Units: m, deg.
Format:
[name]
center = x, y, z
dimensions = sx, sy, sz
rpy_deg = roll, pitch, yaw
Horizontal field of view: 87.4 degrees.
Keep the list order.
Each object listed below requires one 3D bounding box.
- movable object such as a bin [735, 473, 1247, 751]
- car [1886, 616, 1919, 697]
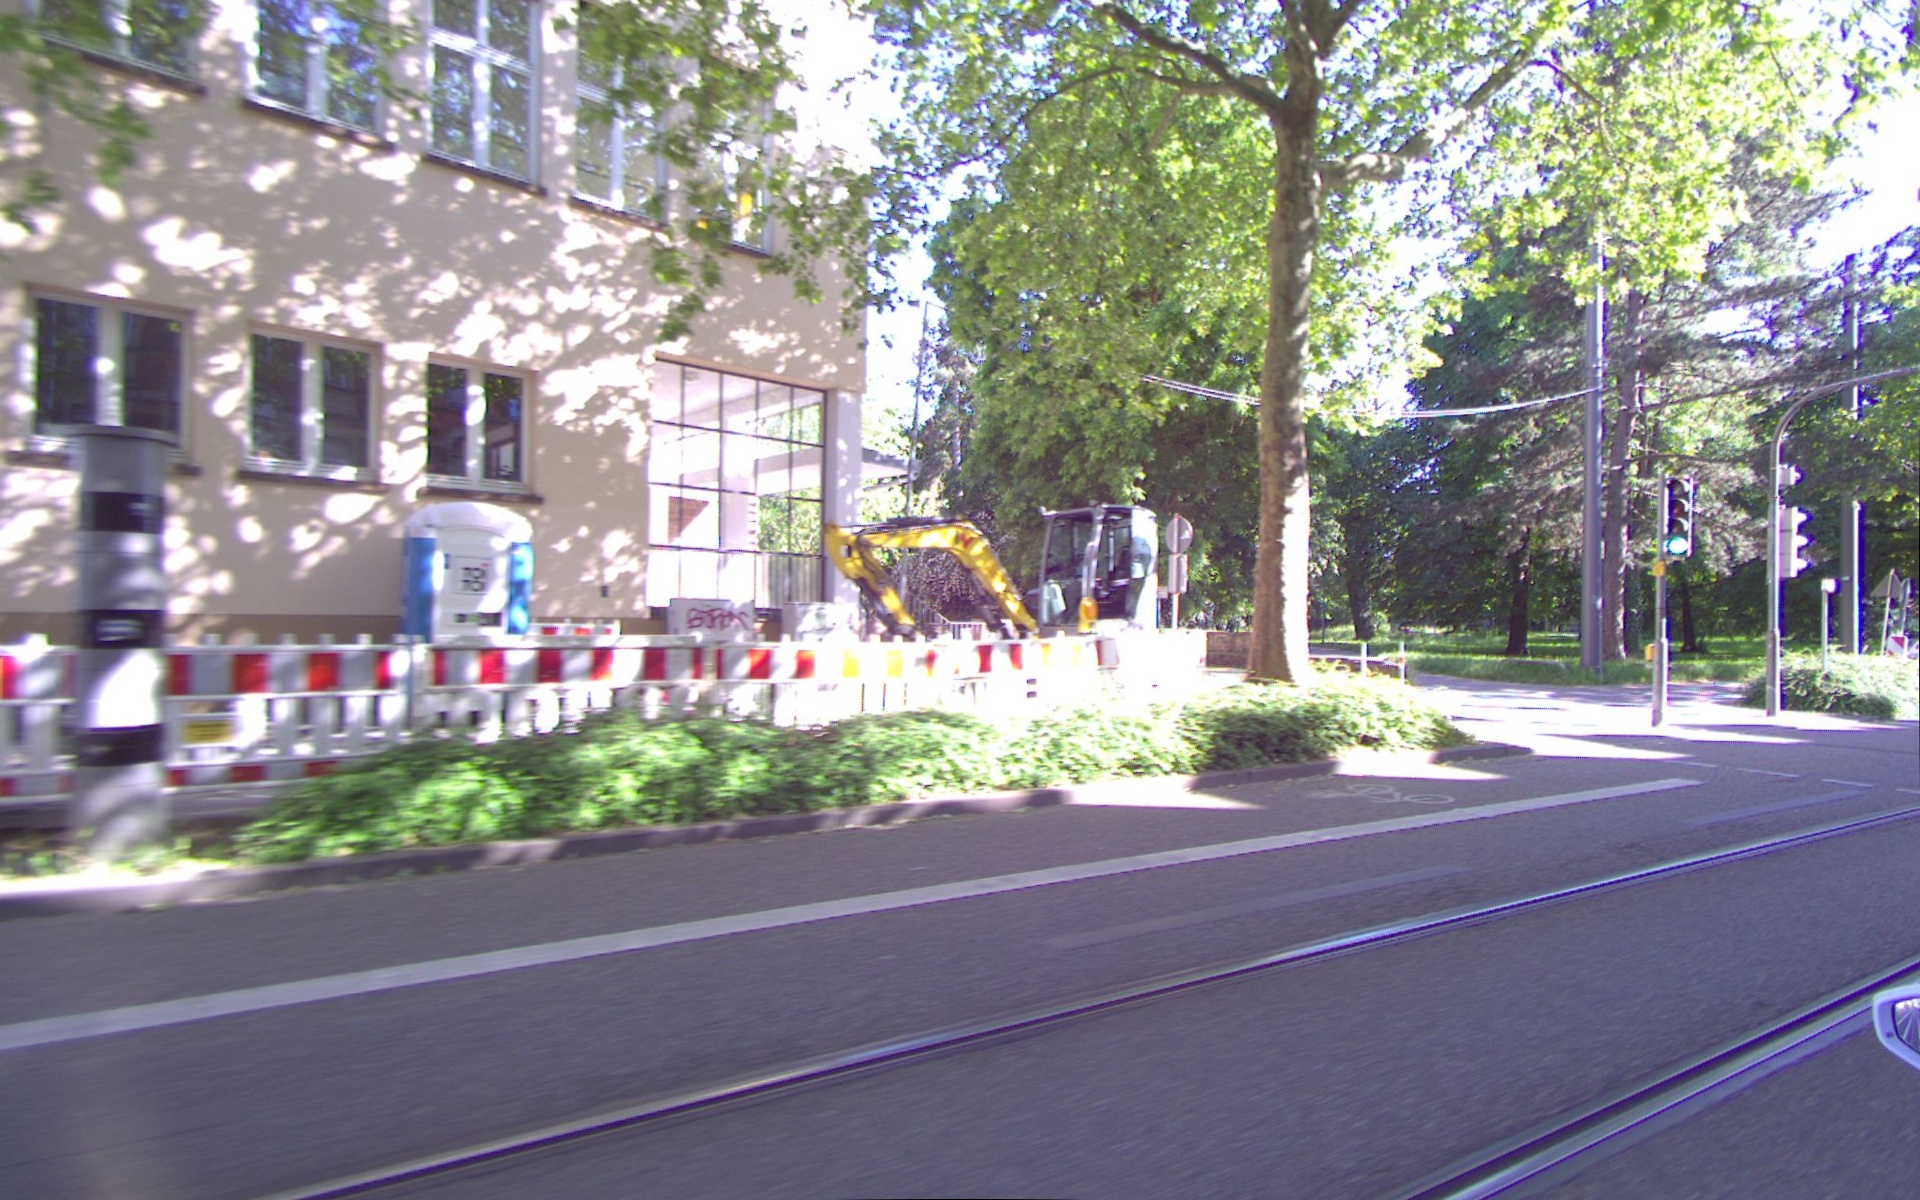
[movable object such as a bin]
center = 0.531, 0.143, 12.360
dimensions = 5.926, 2.681, 2.480
rpy_deg = 1, 1, -34
[car]
center = 21.985, 1.262, 21.864
dimensions = 3.716, 1.681, 1.538
rpy_deg = 2, 1, -28
